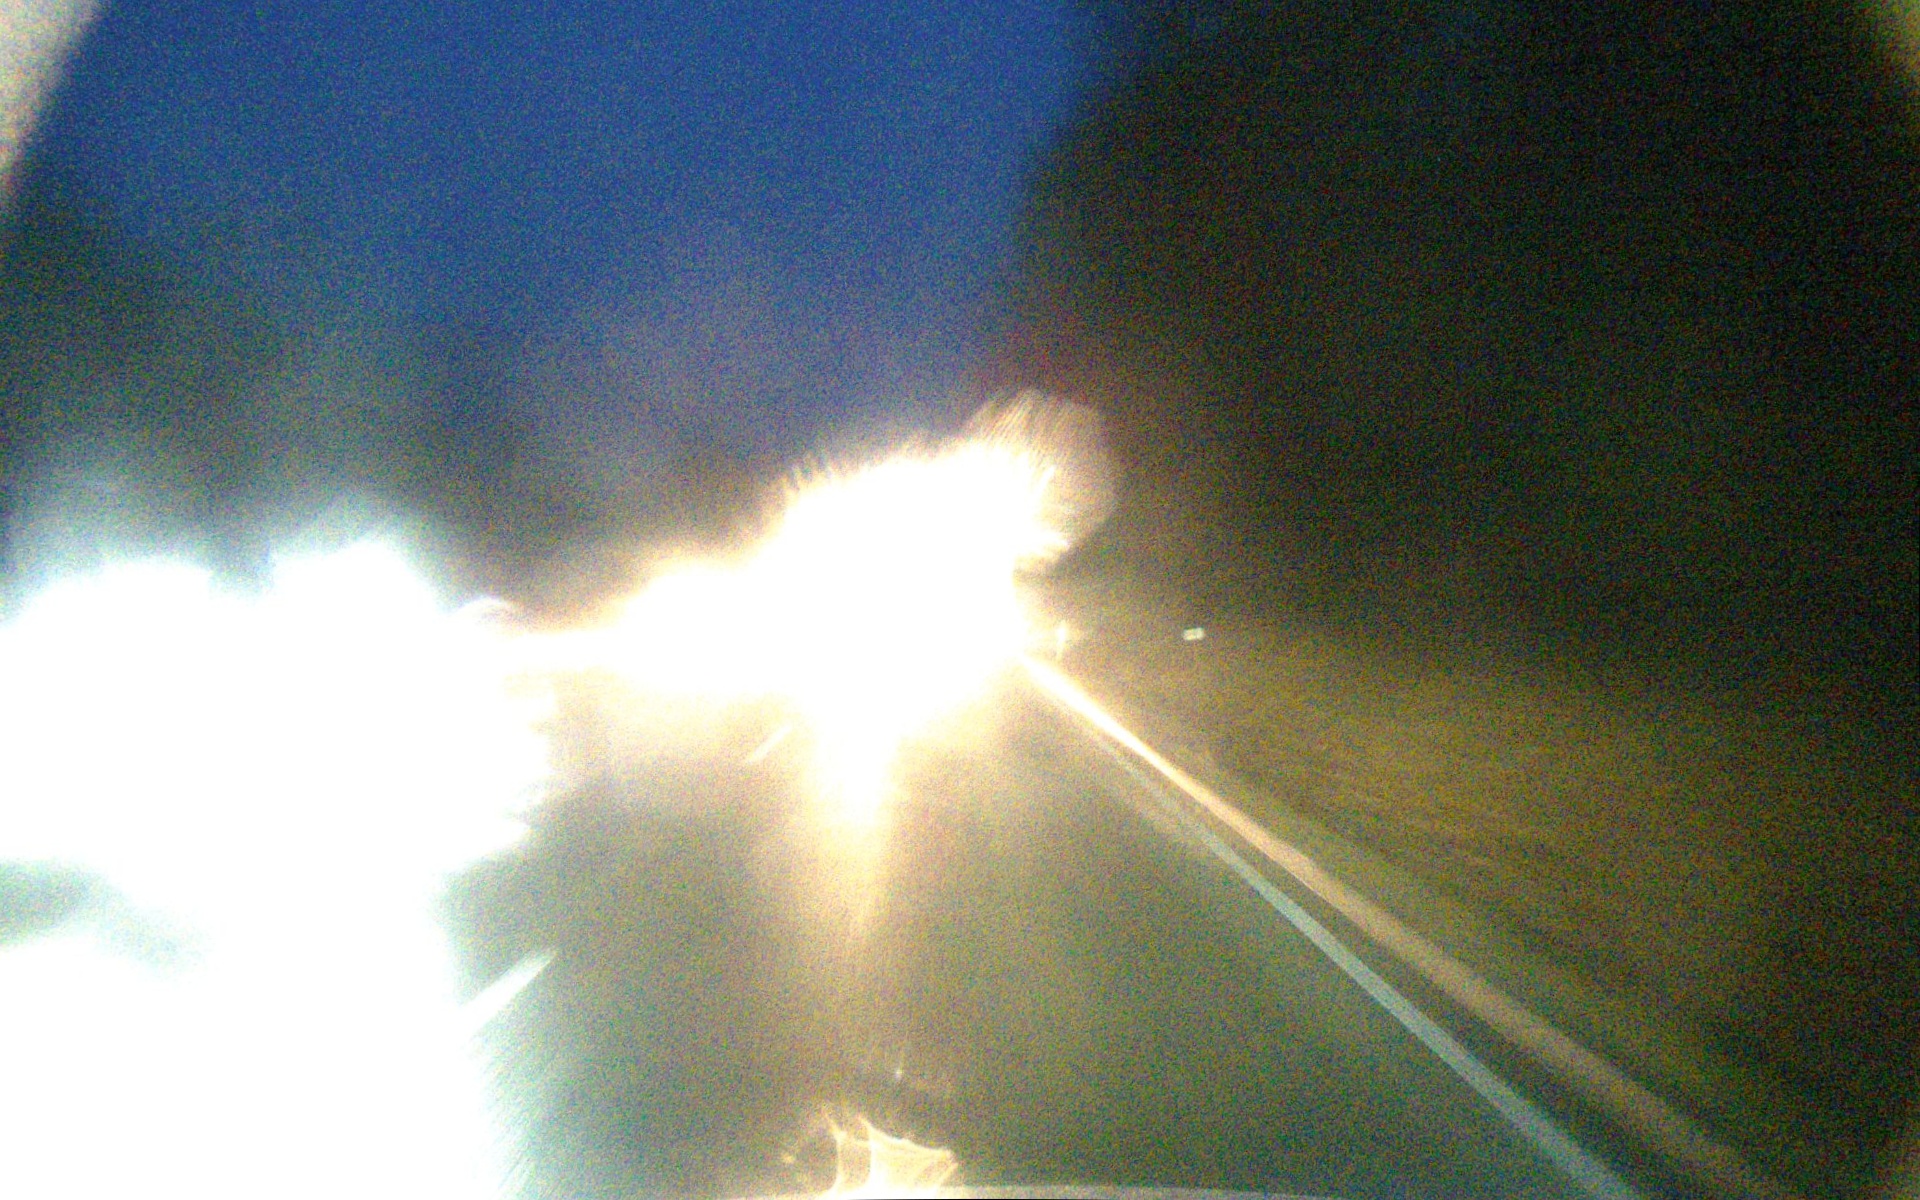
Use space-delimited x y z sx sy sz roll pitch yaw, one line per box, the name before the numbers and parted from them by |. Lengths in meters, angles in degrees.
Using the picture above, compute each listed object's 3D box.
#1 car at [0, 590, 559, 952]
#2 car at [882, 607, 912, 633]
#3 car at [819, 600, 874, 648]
car | -3.346 0.687 8.720 1.612 1.450 4.121 1 0 -3
car | -3.783 1.187 99.527 1.681 1.496 3.707 -2 0 -1
car | -3.951 0.805 57.971 1.681 1.544 3.877 -2 0 -1
